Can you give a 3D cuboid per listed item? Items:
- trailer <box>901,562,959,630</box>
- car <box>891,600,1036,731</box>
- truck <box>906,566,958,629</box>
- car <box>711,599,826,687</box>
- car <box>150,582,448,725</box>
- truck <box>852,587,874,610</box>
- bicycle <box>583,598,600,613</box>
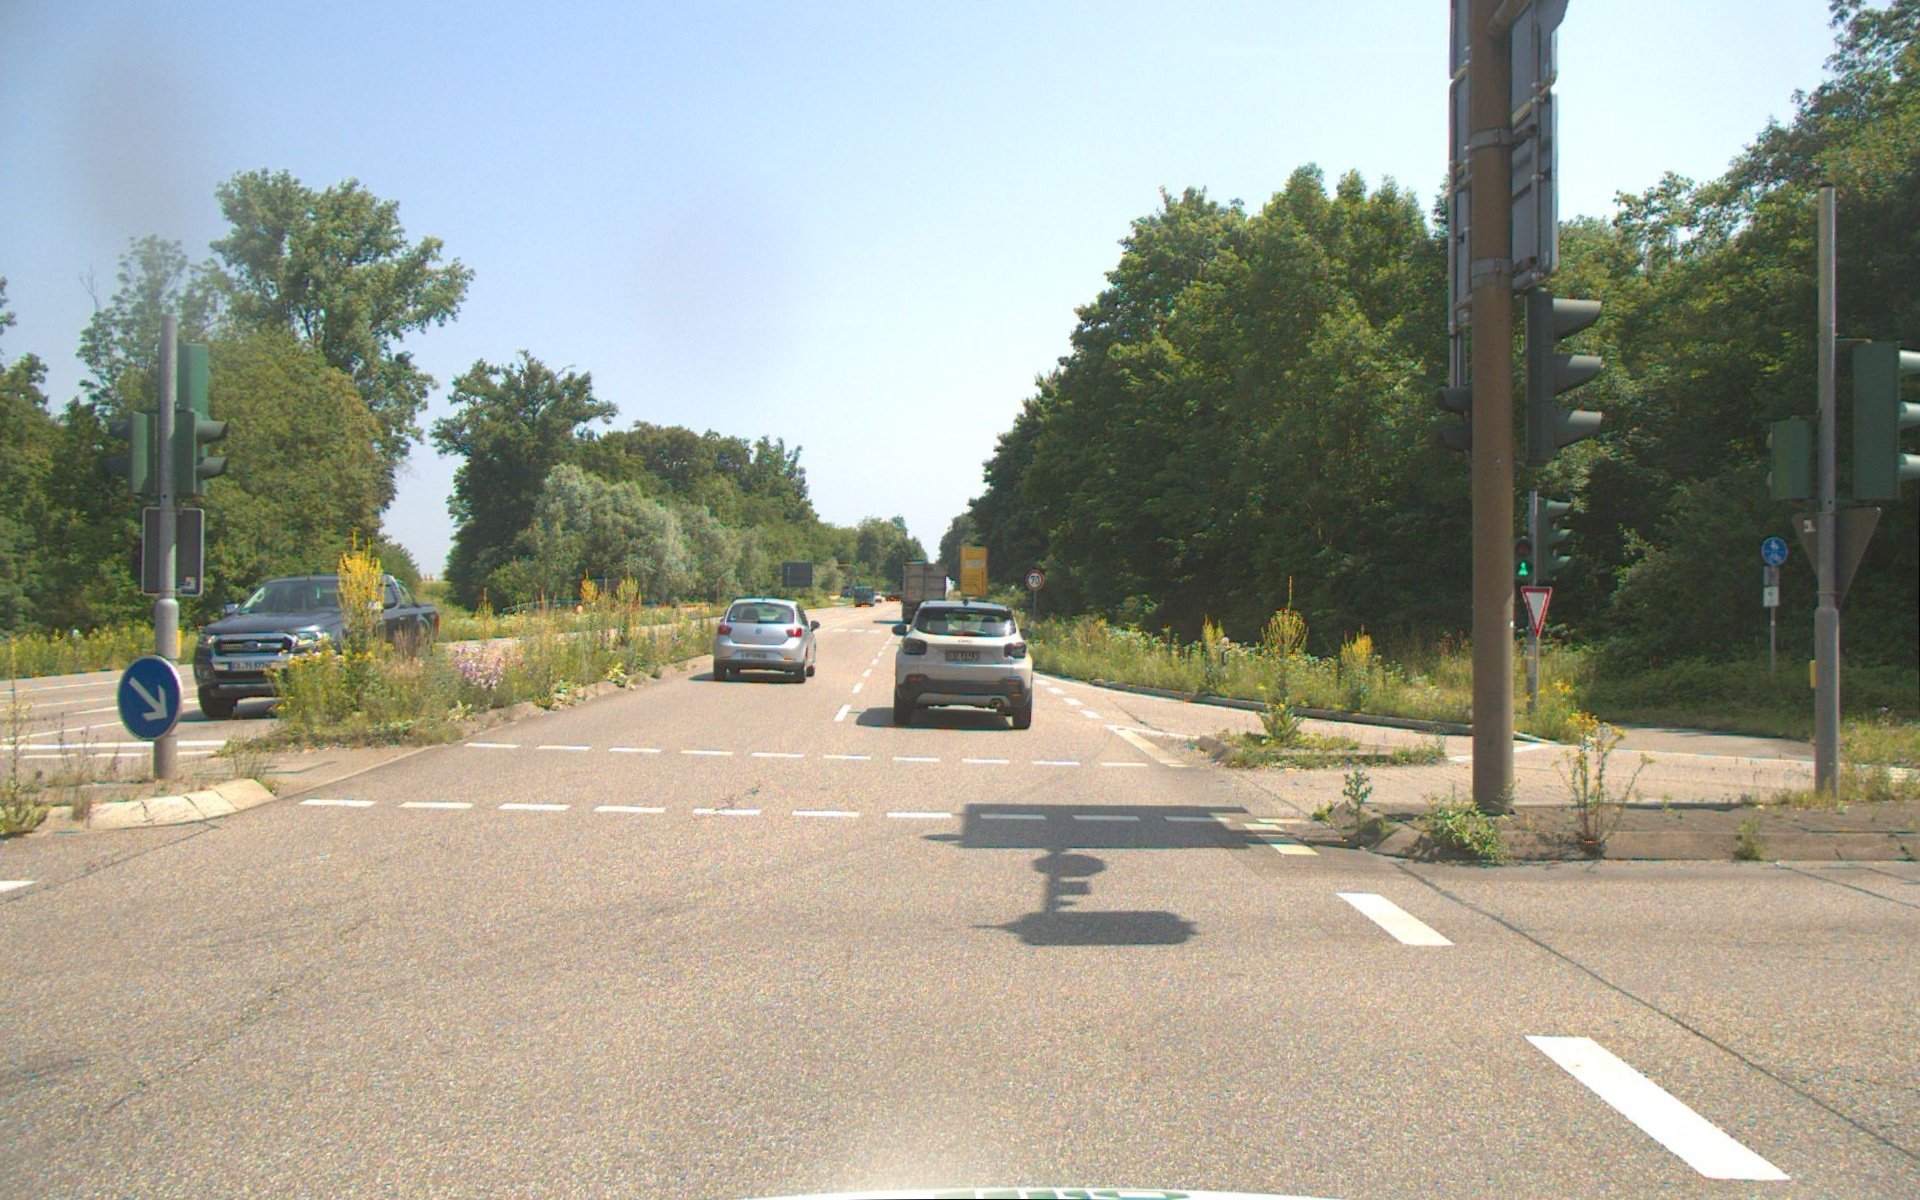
[{"bbox_3d":[-1.842,-0.199,106.250,3.313,4.058,10.804,1,0,1],"label":"trailer"},{"bbox_3d":[0.040,0.793,21.992,1.731,1.562,4.000,1,0,0],"label":"car"},{"bbox_3d":[-1.841,-0.134,111.152,3.264,4.058,6.533,1,0,0],"label":"truck"},{"bbox_3d":[-3.451,0.739,30.323,1.631,1.455,3.828,1,0,0],"label":"car"},{"bbox_3d":[-8.917,0.655,22.927,1.953,1.707,5.365,-1,0,0],"label":"car"},{"bbox_3d":[-12.236,-0.212,209.367,2.404,2.703,6.490,-2,0,0],"label":"truck"},{"bbox_3d":[-25.478,0.391,114.329,0.591,1.023,1.557,-1,0,10],"label":"bicycle"}]
